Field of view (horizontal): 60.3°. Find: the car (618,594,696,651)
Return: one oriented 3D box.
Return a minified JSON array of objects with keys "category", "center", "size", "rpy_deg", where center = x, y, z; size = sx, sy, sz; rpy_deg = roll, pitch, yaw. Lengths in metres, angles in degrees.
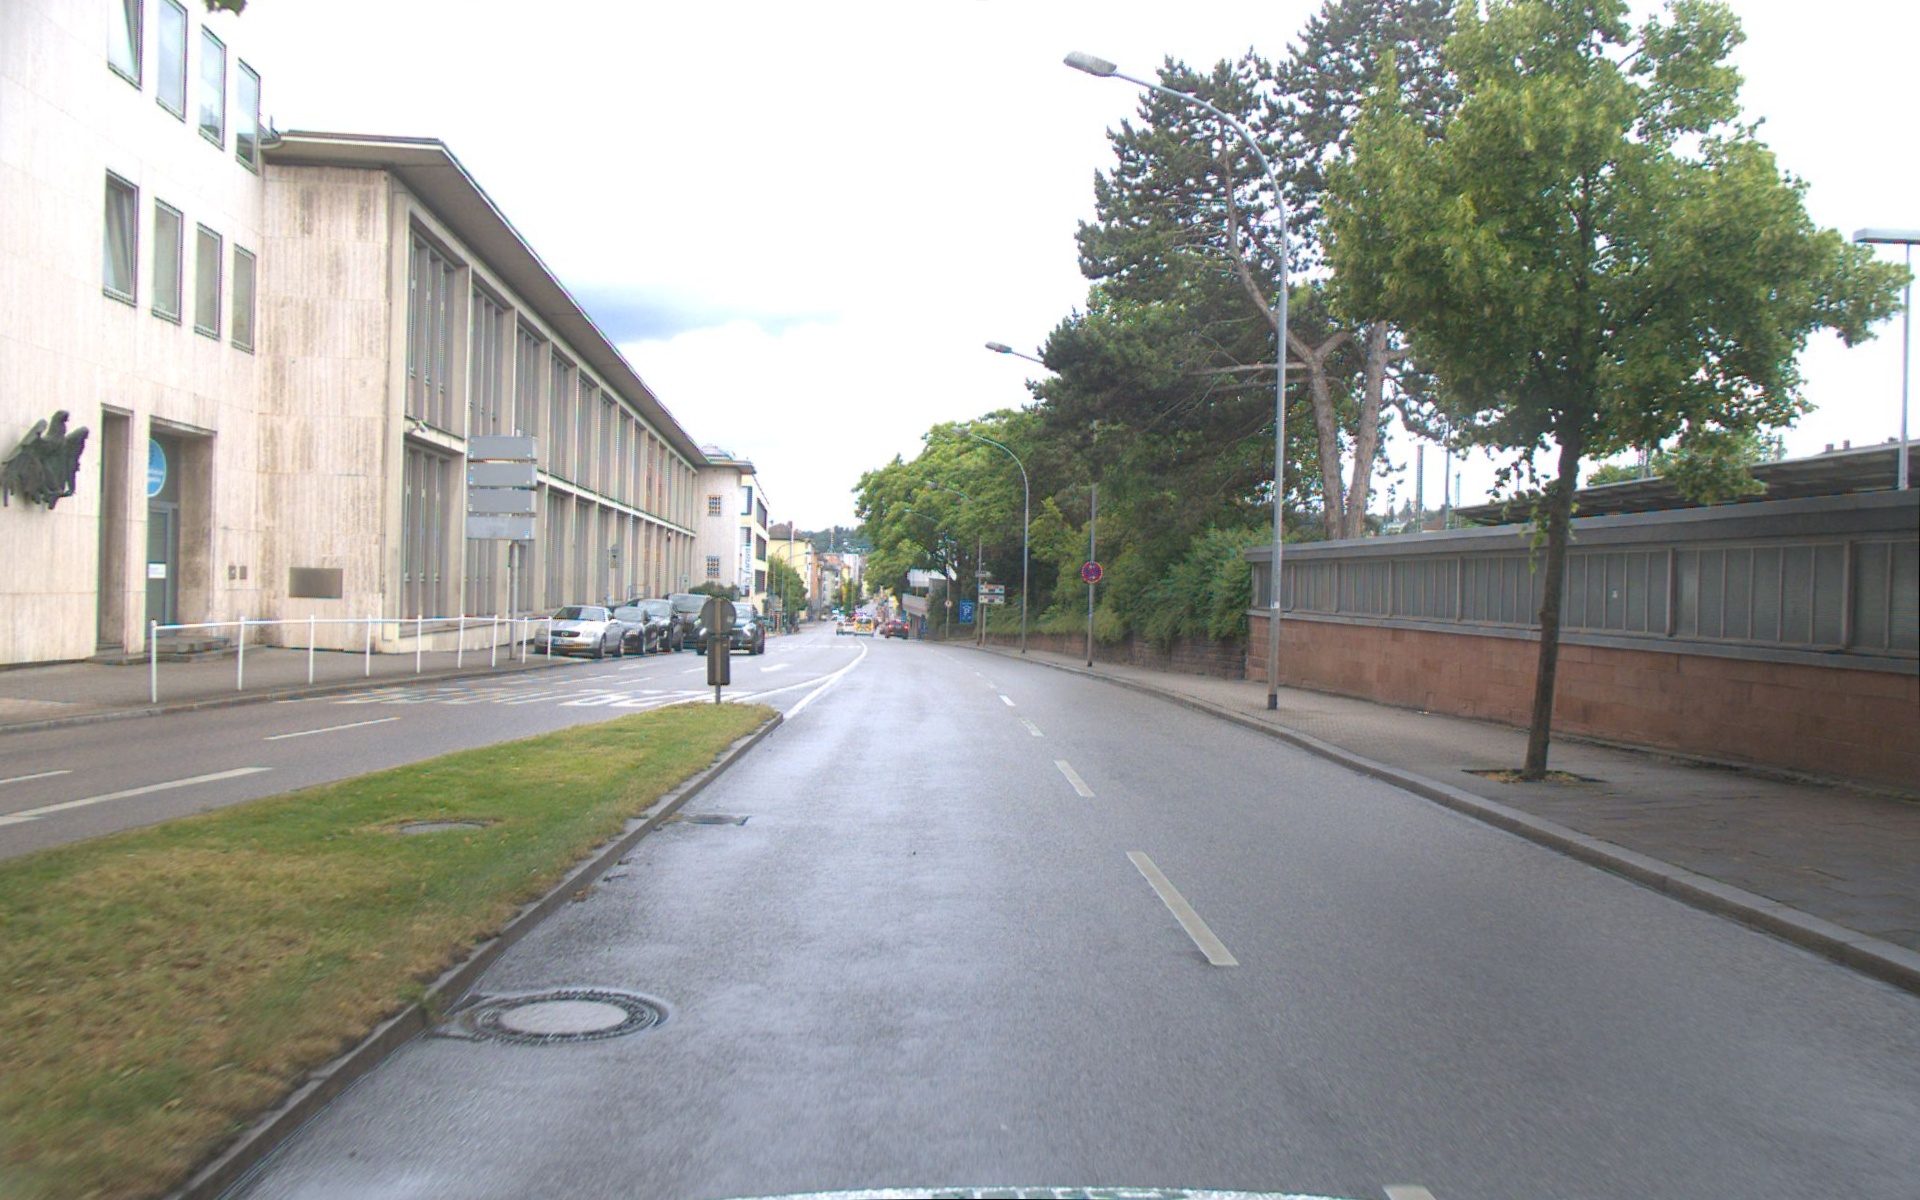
[{"category":"car","center":[-9.794,0.716,53.769],"size":[1.761,1.705,4.601],"rpy_deg":[1,0,-2]}]

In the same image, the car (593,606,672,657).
[{"category":"car","center":[-9.525,0.901,48.397],"size":[1.511,1.377,4.109],"rpy_deg":[1,0,-1]}]

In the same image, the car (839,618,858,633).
[{"category":"car","center":[-13.598,3.109,201.700],"size":[1.957,1.709,3.992],"rpy_deg":[0,0,-9]}]

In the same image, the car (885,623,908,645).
[{"category":"car","center":[-5.960,3.154,155.156],"size":[2.050,1.944,4.097],"rpy_deg":[0,1,-3]}]

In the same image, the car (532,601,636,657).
[{"category":"car","center":[-9.623,0.716,42.608],"size":[1.656,1.320,4.093],"rpy_deg":[2,0,1]}]

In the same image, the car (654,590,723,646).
[{"category":"car","center":[-10.152,0.675,62.150],"size":[1.910,1.978,4.993],"rpy_deg":[1,0,-3]}]

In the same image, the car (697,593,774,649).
[{"category":"car","center":[-7.028,0.626,52.192],"size":[1.784,1.689,4.337],"rpy_deg":[0,0,0]}]

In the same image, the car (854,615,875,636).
[{"category":"car","center":[-9.223,2.462,159.867],"size":[1.954,1.870,3.997],"rpy_deg":[0,0,-3]}]
